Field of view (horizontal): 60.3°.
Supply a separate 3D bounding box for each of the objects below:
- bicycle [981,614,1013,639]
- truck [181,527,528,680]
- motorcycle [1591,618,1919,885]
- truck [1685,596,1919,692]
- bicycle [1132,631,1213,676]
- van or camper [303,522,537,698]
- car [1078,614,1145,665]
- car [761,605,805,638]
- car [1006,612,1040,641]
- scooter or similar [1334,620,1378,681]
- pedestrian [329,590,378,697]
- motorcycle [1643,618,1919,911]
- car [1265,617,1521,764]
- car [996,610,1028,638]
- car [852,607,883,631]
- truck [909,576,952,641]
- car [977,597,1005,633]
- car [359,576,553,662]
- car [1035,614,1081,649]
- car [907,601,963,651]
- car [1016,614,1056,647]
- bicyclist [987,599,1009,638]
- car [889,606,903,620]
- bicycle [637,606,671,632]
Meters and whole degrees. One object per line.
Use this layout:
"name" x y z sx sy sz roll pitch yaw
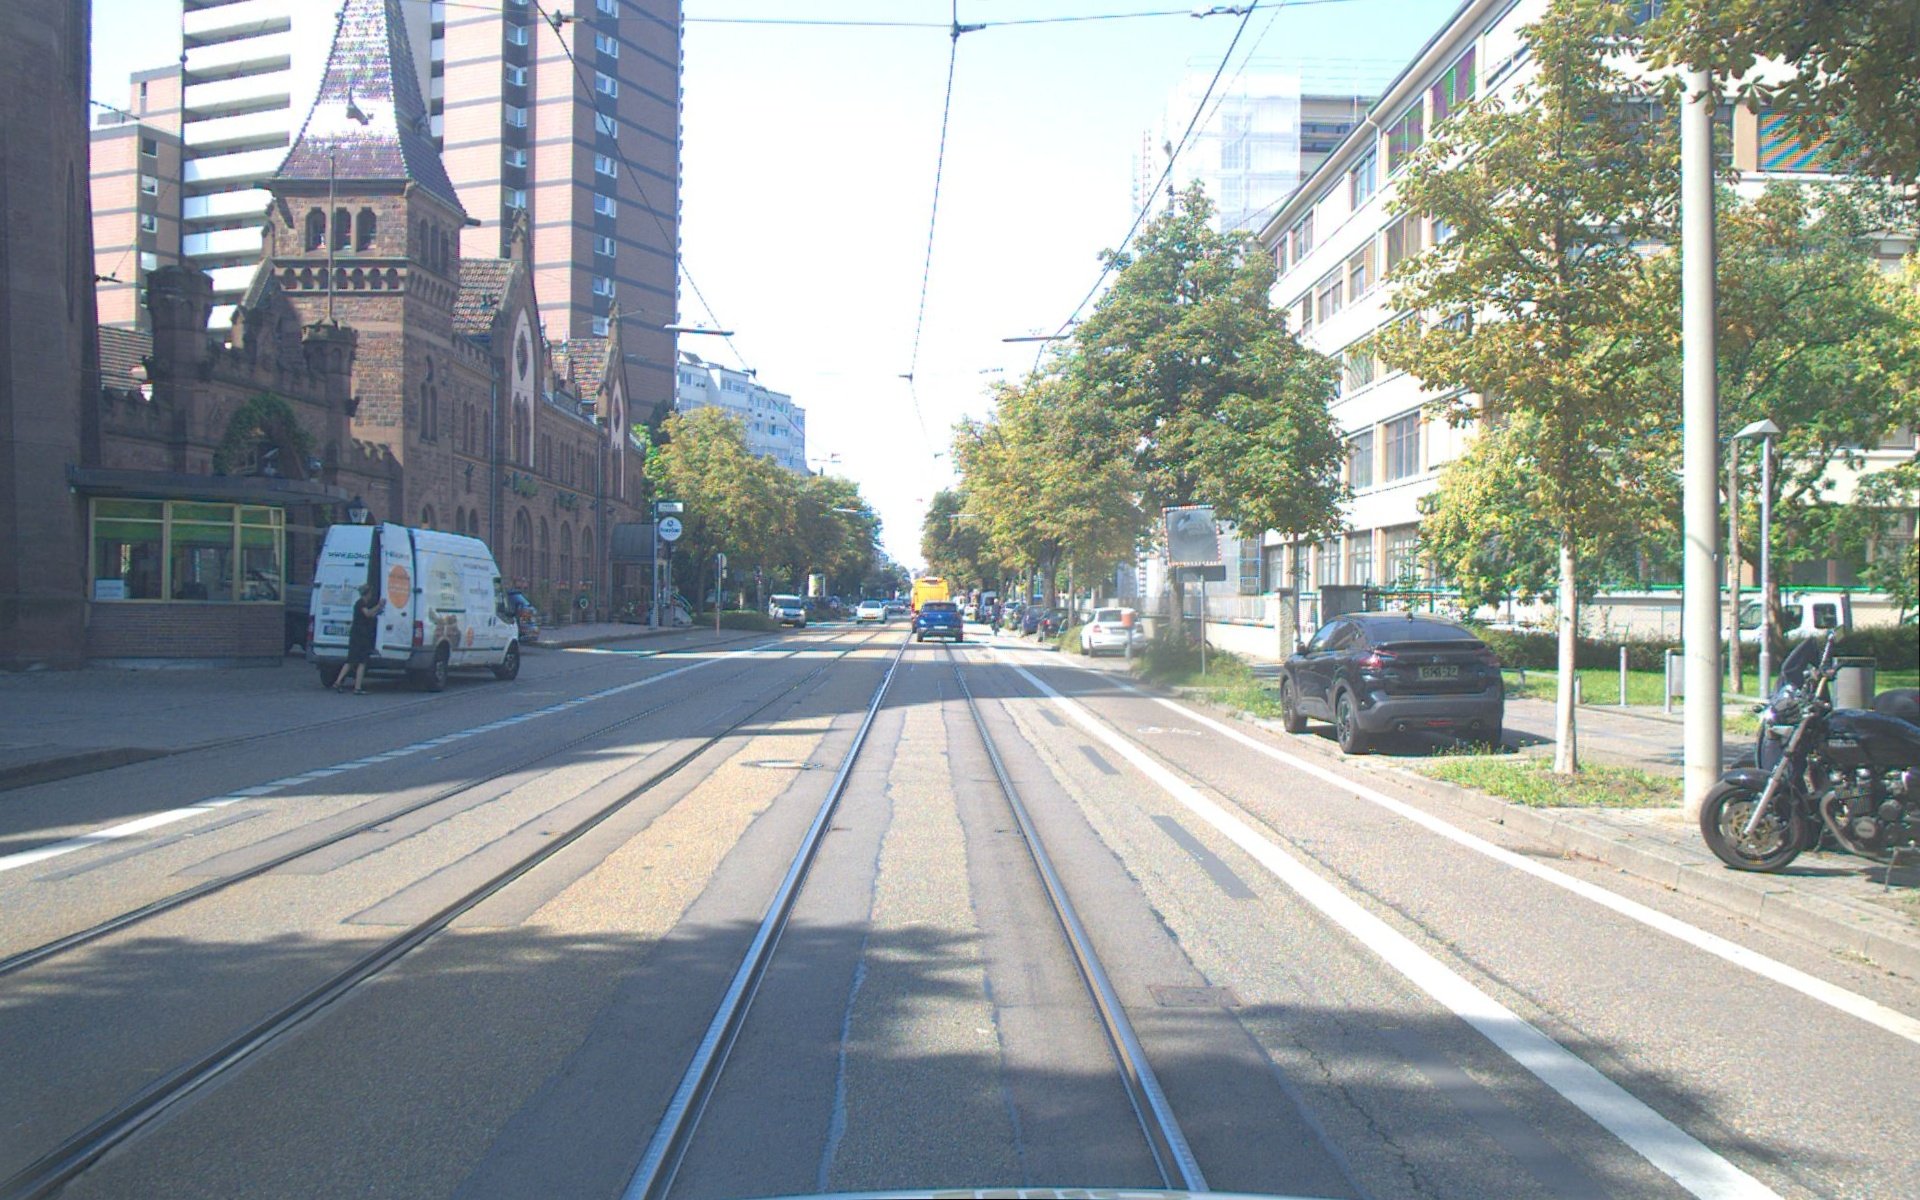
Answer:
"bicycle" 1.793 1.288 80.718 1.373 1.154 3.999 1 0 -1
"truck" -12.268 0.037 33.754 6.189 2.582 2.132 4 1 4
"motorcycle" 5.478 0.917 11.076 0.839 1.542 2.435 1 0 -25
"truck" 22.518 1.150 44.033 5.394 2.367 2.298 1 0 0
"bicycle" 4.902 1.227 38.148 1.775 0.975 0.558 1 -1 -2
"van or camper" -9.253 0.169 28.979 2.069 2.722 5.955 1 0 0
"car" 4.608 1.178 50.901 1.625 1.507 4.216 0 -1 -1
"car" -10.440 1.238 97.356 1.721 1.828 3.978 2 -1 -19
"car" 3.538 1.482 93.906 1.601 1.612 4.186 1 0 -2
"scooter or similar" 8.596 1.083 35.923 0.544 1.281 1.818 1 0 1
"pedestrian" -9.413 0.668 25.665 0.547 1.627 0.491 2 -1 -40
"motorcycle" 5.251 0.902 9.370 2.407 1.542 0.849 1 -1 37
"car" 5.064 0.995 20.031 1.720 1.542 4.607 0 0 -2
"car" 3.256 1.491 103.994 1.705 1.697 4.360 1 0 -2
"car" -6.153 1.259 110.781 1.809 1.518 4.866 1 0 -1
"truck" -1.484 0.440 83.453 2.092 3.179 6.083 0 0 -1
"car" 2.509 1.228 135.094 1.953 2.804 5.758 1 0 -2
"car" -12.341 0.463 40.726 4.052 1.774 2.000 4 0 -1
"car" 4.087 1.309 69.271 1.625 1.432 4.216 0 -1 -1
"car" -0.969 0.987 64.463 2.092 1.891 5.566 0 0 -1
"car" 3.675 1.489 80.810 1.707 1.583 4.216 0 -1 -1
"bicyclist" 1.835 0.905 80.727 1.011 1.844 1.016 1 -1 -1
"car" -8.396 1.709 215.995 1.744 1.713 4.345 1 -1 -2
"bicycle" -14.165 0.878 76.661 1.423 1.112 0.399 4 -1 -5
